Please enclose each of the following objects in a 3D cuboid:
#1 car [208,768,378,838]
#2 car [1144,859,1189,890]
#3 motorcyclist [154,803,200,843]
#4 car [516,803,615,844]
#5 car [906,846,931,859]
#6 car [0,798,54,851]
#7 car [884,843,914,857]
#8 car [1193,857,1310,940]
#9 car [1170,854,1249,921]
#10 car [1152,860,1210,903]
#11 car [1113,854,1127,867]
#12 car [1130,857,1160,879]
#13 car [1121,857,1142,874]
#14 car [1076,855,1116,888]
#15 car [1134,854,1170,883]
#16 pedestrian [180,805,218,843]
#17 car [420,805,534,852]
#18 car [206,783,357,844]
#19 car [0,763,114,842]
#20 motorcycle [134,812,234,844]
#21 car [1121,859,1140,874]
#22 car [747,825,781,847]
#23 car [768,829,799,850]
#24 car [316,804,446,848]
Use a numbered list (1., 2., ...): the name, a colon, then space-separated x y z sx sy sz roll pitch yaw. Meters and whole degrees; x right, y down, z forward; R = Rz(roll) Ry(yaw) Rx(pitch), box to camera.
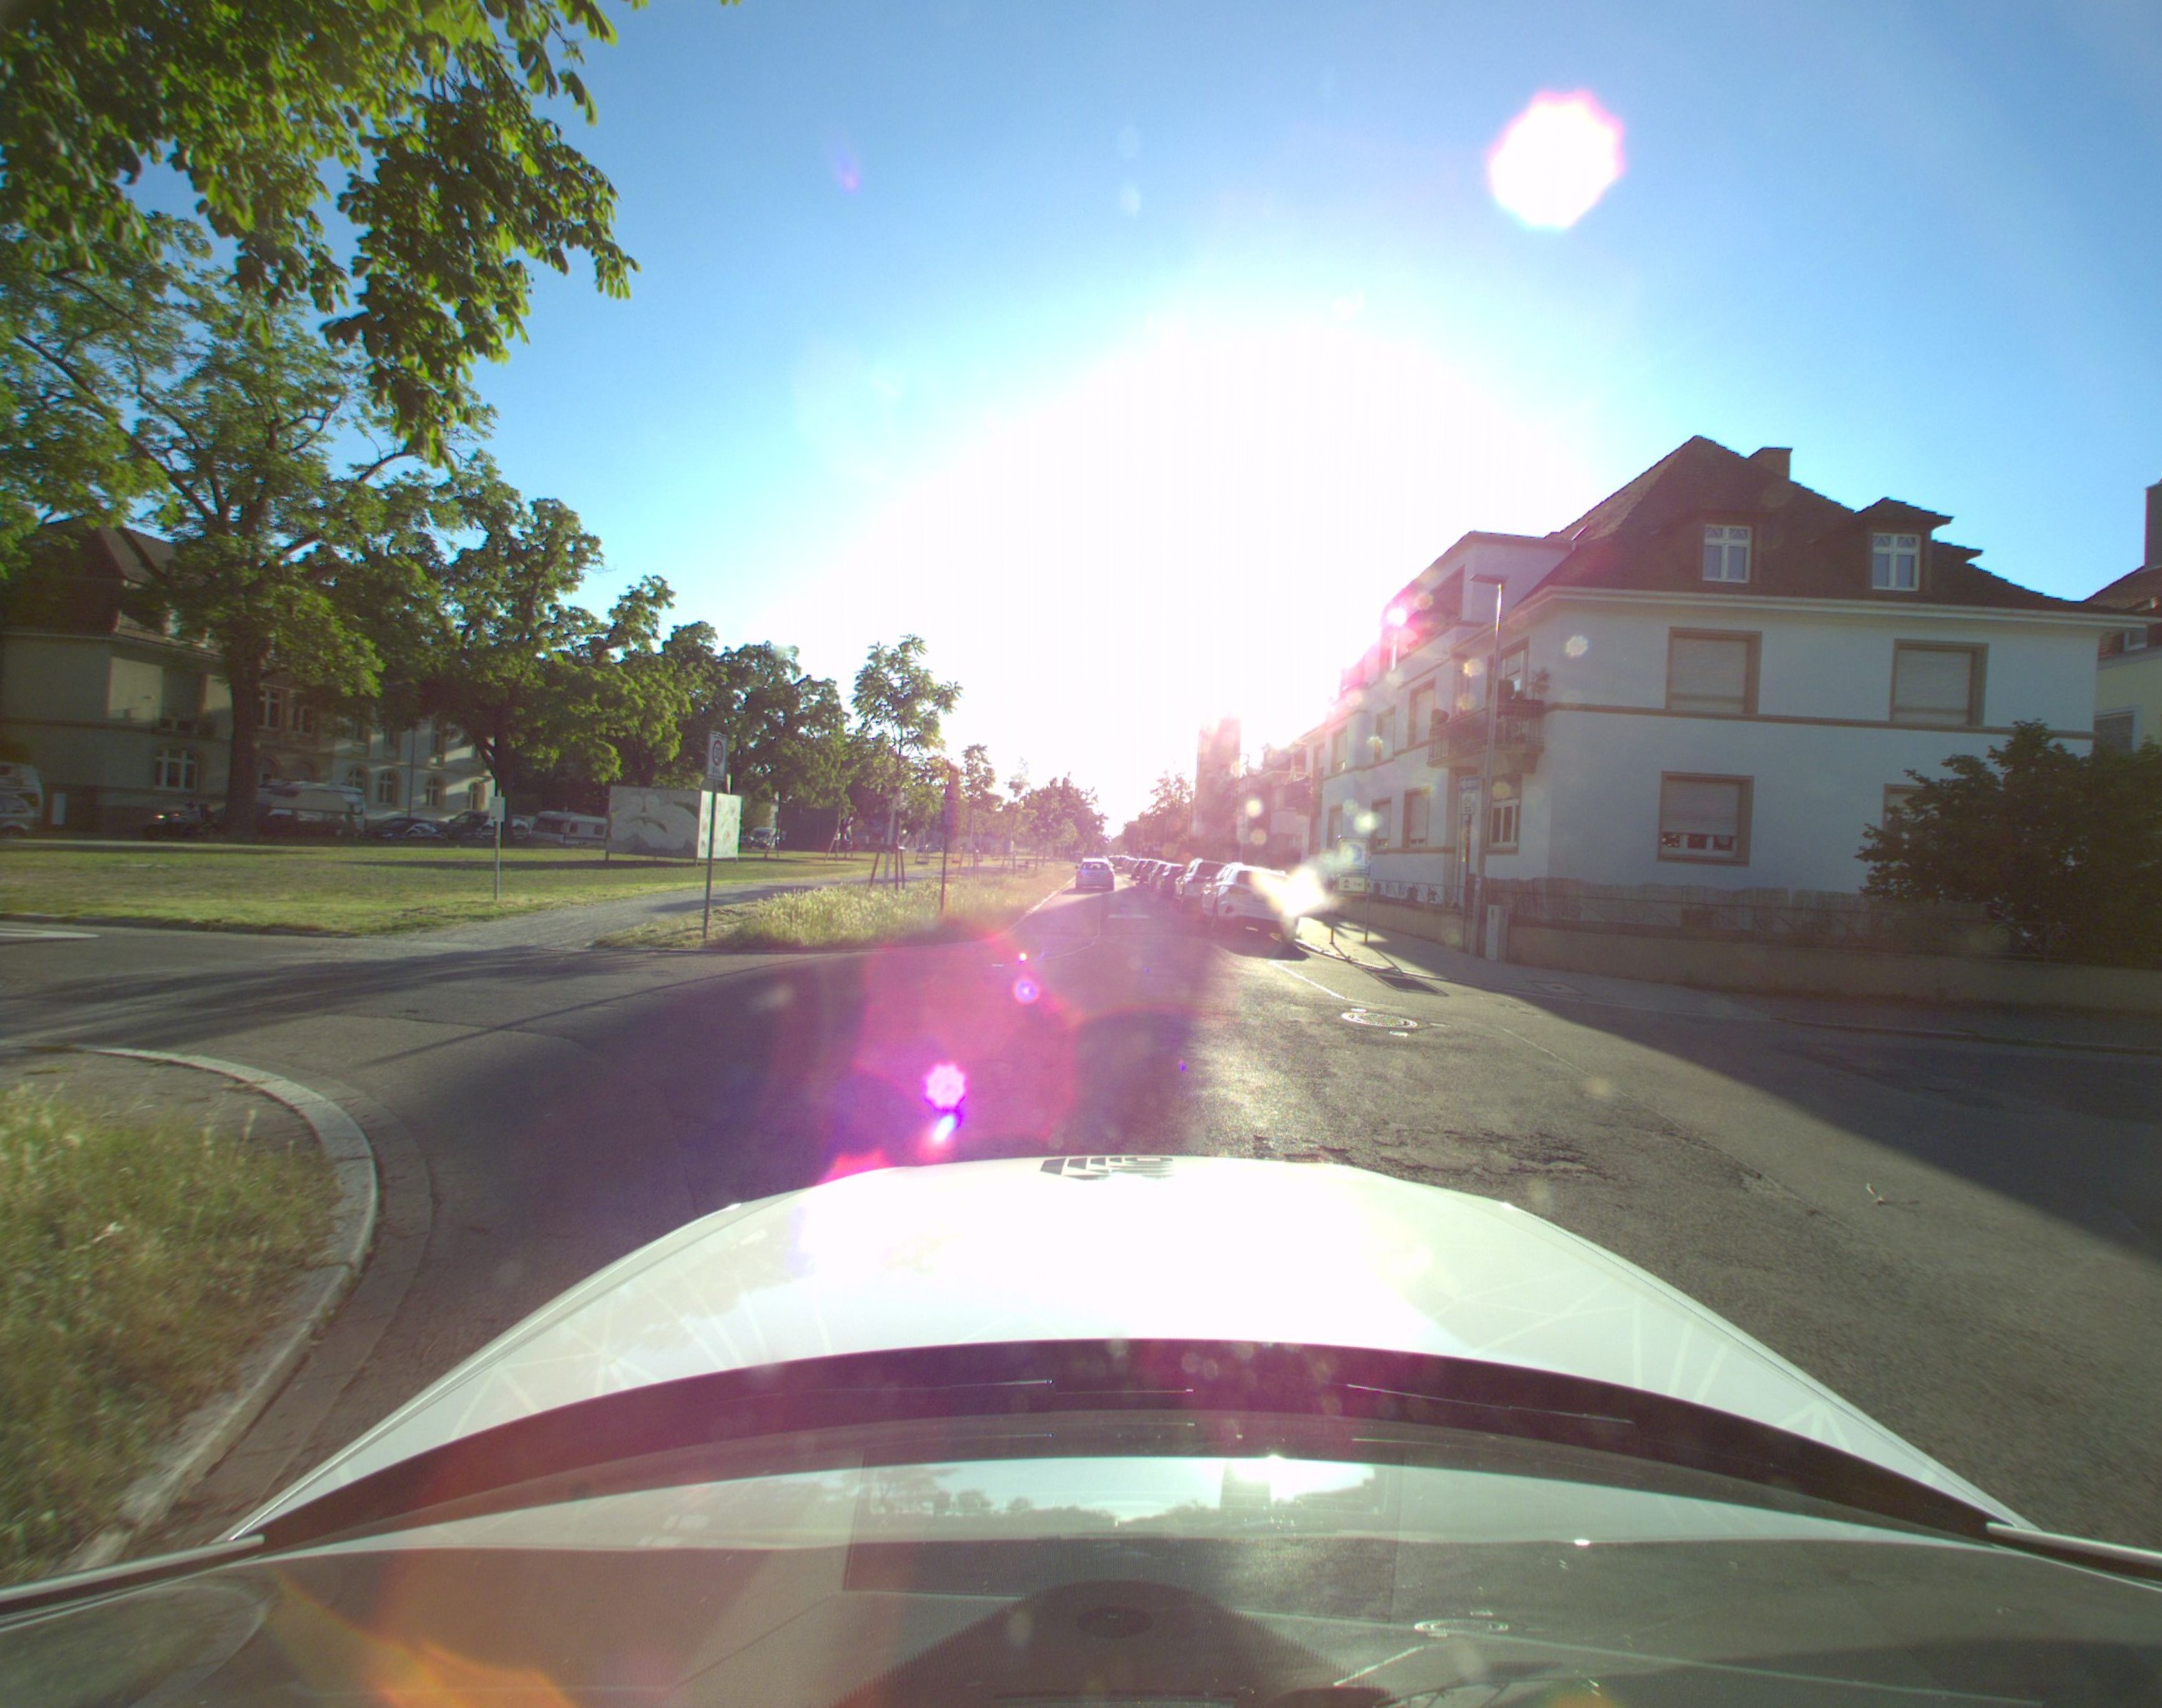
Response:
1. car: -38.304 -2.393 39.898 2.429 2.922 5.819 1 -1 1
2. car: 4.078 0.952 39.381 1.755 1.420 4.000 1 0 0
3. motorcyclist: -35.954 -1.234 32.395 0.925 1.532 0.788 1 -1 9
4. car: -32.363 -1.862 51.369 2.525 2.236 5.461 3 0 2
5. car: -30.691 -0.254 153.870 3.147 2.148 6.113 1 -1 2
6. car: -33.019 -0.924 23.262 1.678 1.559 4.317 4 0 2
7. car: -30.630 -0.588 137.114 3.147 2.148 6.897 1 -1 3
8. car: 3.812 0.926 18.961 1.753 1.605 4.358 3 0 0
9. car: 3.835 0.951 24.987 1.679 1.650 4.101 8 0 1
10. car: 4.101 1.075 33.835 1.755 1.419 4.000 9 0 0
11. car: 5.812 0.964 120.716 1.973 1.683 4.002 4 0 3
12. car: 4.682 1.025 59.915 1.986 1.464 4.002 4 0 3
13. car: 5.316 1.236 86.067 1.986 1.629 4.002 4 0 3
14. car: 0.693 0.781 38.144 1.755 1.420 4.000 1 0 0
15. car: 4.240 0.851 49.389 1.755 1.521 4.000 5 0 0
16. pedestrian: -35.841 -1.212 33.092 0.923 1.532 0.601 1 -1 9
17. car: -32.468 -1.308 44.022 1.986 2.250 5.188 4 0 2
18. car: -32.654 -1.578 33.466 1.678 2.176 4.317 3 0 2
19. car: -38.656 -1.877 28.983 1.986 2.672 5.189 4 0 2
20. motorcycle: -35.919 -1.020 32.679 0.939 1.126 2.527 1 -1 10
21. car: 5.640 1.421 92.704 1.986 1.629 4.002 4 0 3
22. car: -37.091 -2.056 95.384 1.986 2.409 4.365 1 -1 2
23. car: -36.860 -1.768 101.079 1.986 2.409 4.365 1 -1 2
24. car: -32.697 -1.253 38.236 1.986 1.793 4.487 4 0 3
